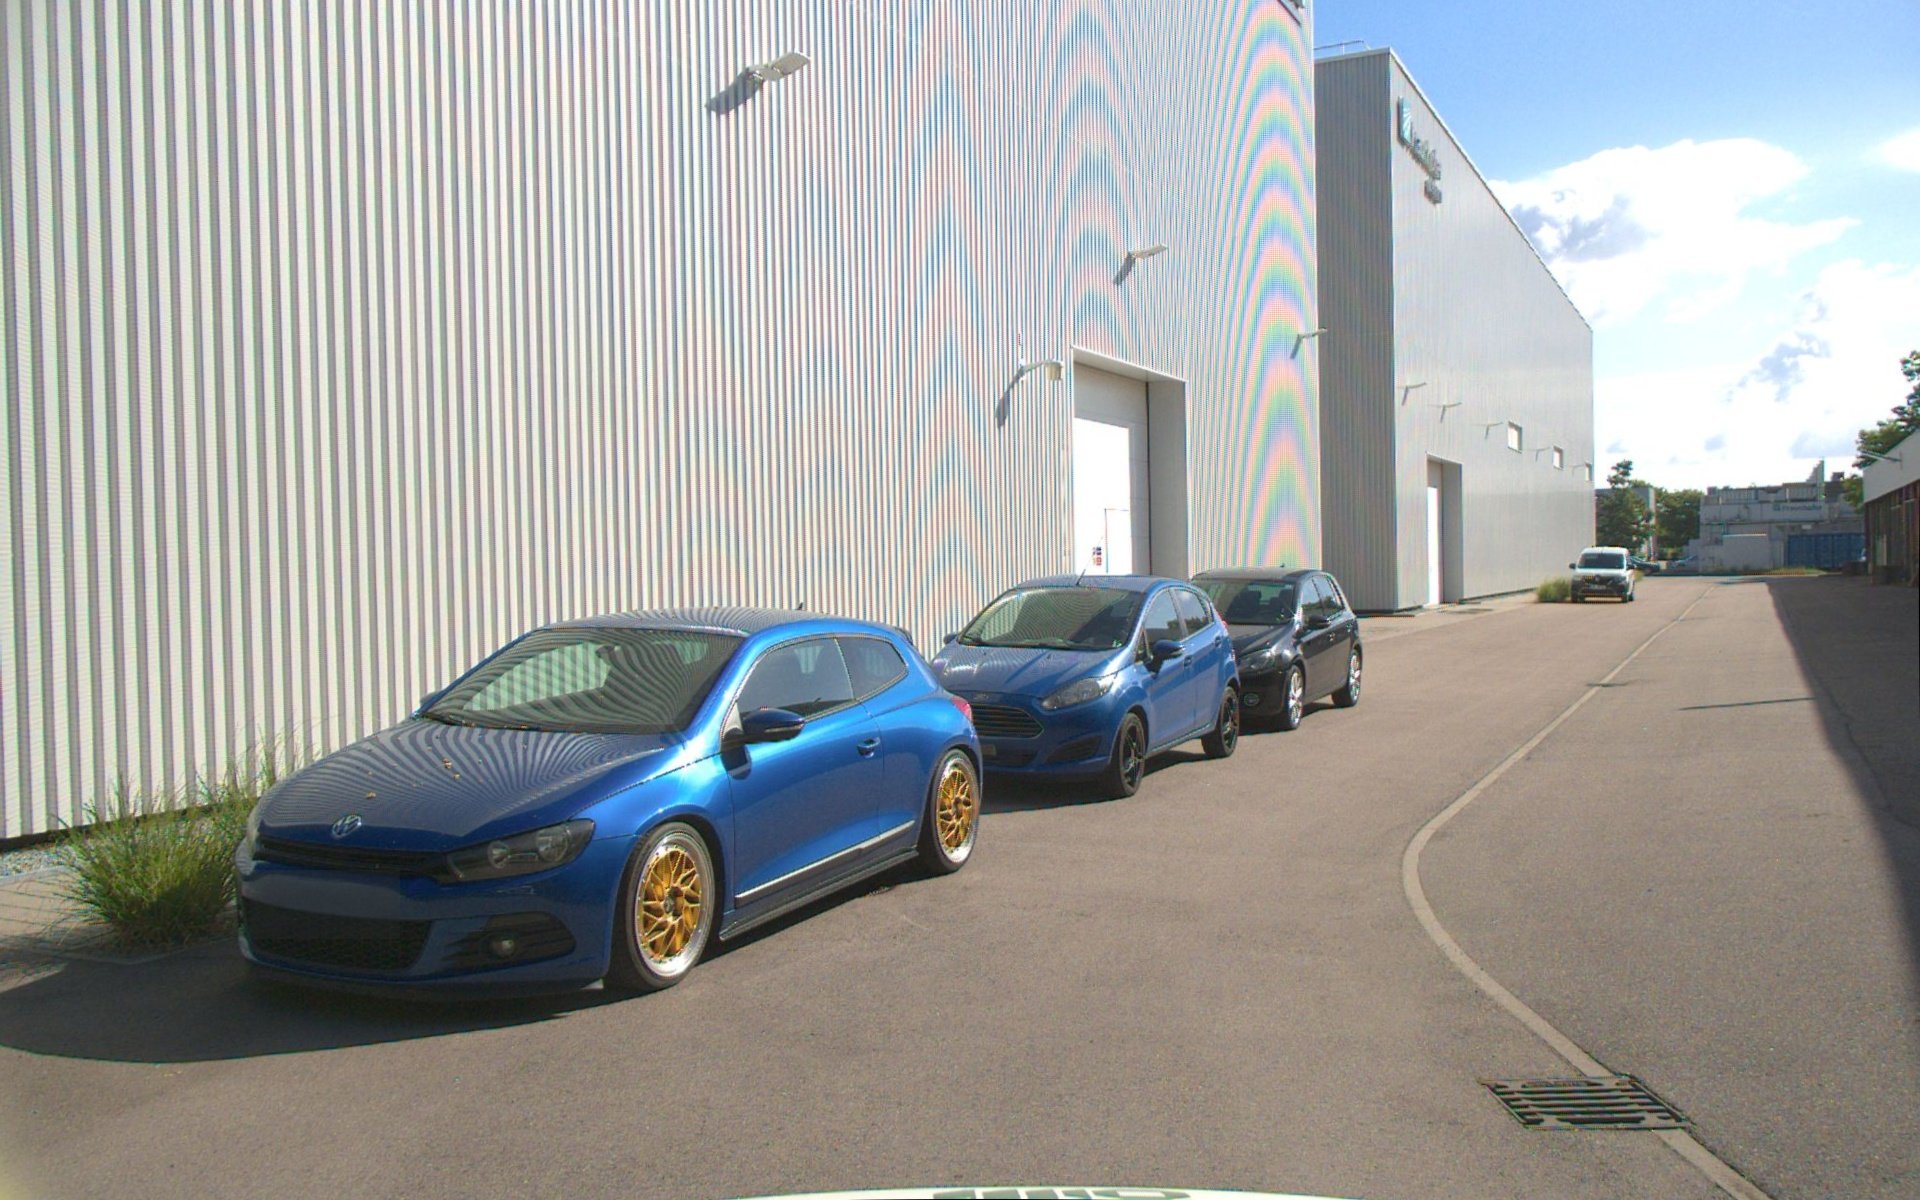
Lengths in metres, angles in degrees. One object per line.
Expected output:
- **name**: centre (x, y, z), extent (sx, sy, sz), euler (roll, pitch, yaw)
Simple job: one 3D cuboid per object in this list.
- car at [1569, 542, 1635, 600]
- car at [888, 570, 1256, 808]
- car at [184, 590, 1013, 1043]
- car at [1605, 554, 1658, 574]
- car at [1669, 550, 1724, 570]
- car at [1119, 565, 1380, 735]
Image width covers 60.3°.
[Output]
- **car**: centre (21.621, -0.991, 55.597), extent (1.869, 1.825, 3.999), euler (-1, 1, 24)
- **car**: centre (1.006, 0.533, 12.548), extent (1.587, 1.472, 3.763), euler (0, 2, 24)
- **car**: centre (-1.275, 0.690, 7.508), extent (1.635, 1.373, 3.952), euler (1, 2, 25)
- **car**: centre (53.423, -2.827, 131.599), extent (3.808, 1.487, 1.622), euler (-1, 1, 26)
- **car**: centre (57.124, -3.088, 128.324), extent (3.811, 1.487, 1.621), euler (-1, 1, 29)
- **car**: centre (3.081, 0.404, 16.986), extent (1.618, 1.471, 3.875), euler (2, 2, 26)
